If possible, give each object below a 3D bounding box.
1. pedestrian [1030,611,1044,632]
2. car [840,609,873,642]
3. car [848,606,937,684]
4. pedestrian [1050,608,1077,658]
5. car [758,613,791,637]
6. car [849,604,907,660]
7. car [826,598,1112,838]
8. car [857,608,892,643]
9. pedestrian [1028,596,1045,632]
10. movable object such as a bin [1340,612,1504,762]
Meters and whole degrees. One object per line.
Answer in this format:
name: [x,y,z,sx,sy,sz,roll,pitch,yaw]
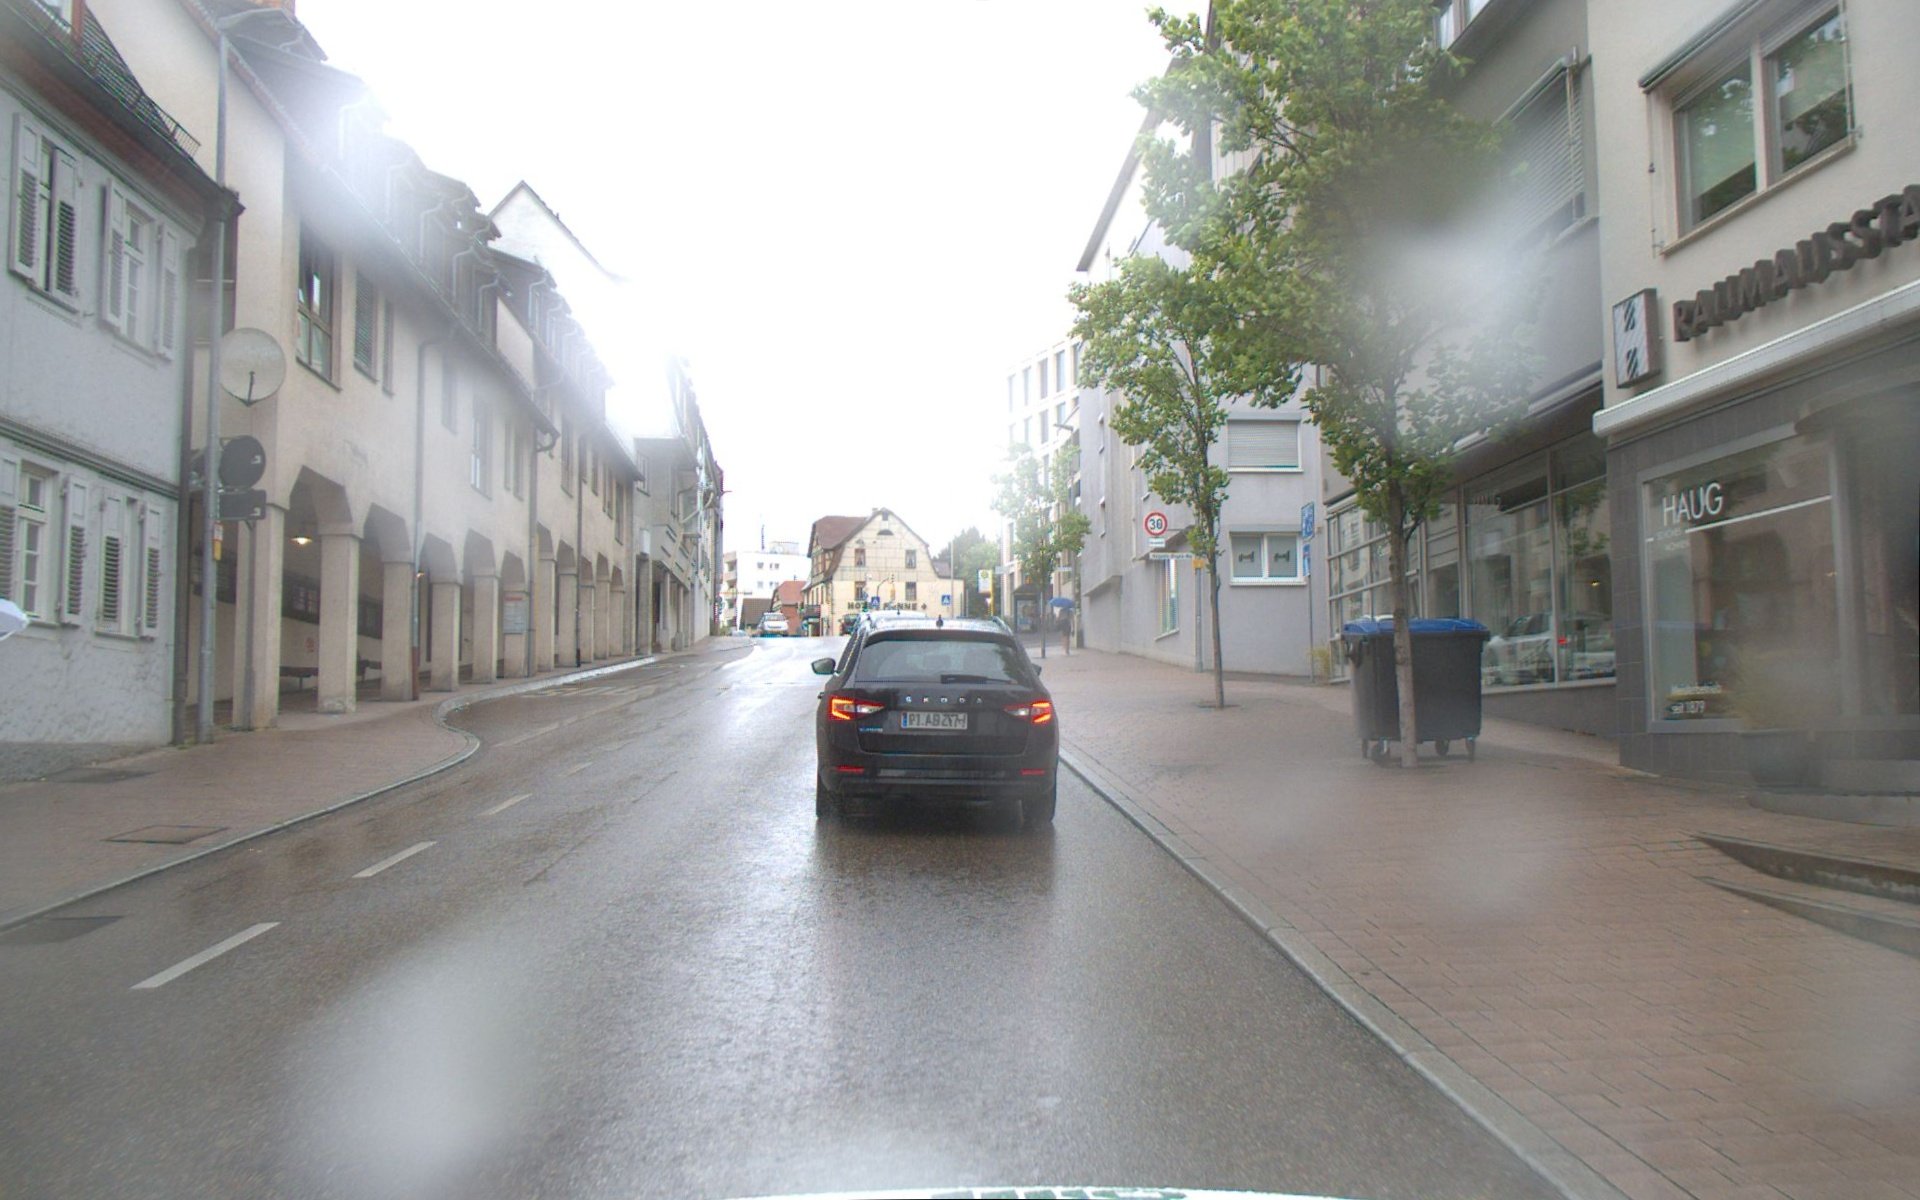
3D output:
pedestrian: [4.314,1.195,92.731,0.658,1.182,0.634,-2,-1,-4]
car: [-6.671,1.643,107.074,1.953,2.049,3.998,-1,-1,-2]
car: [-1.463,0.921,34.807,1.645,1.536,3.584,0,-1,-6]
pedestrian: [3.370,1.070,53.787,0.721,1.569,1.038,-3,-1,-1]
car: [-12.288,1.640,109.522,1.642,1.536,3.589,0,-1,2]
car: [-2.514,0.941,49.896,1.647,1.587,3.997,-1,-1,-4]
car: [0.004,0.807,13.231,1.905,1.594,4.415,0,-1,-2]
car: [-4.151,1.219,79.928,1.647,1.587,3.997,-1,-1,-4]
pedestrian: [4.220,0.778,91.116,0.766,1.974,1.020,-2,-1,-3]
movable object such as a bin: [4.439,0.818,15.998,1.210,1.358,1.172,-1,0,-2]
